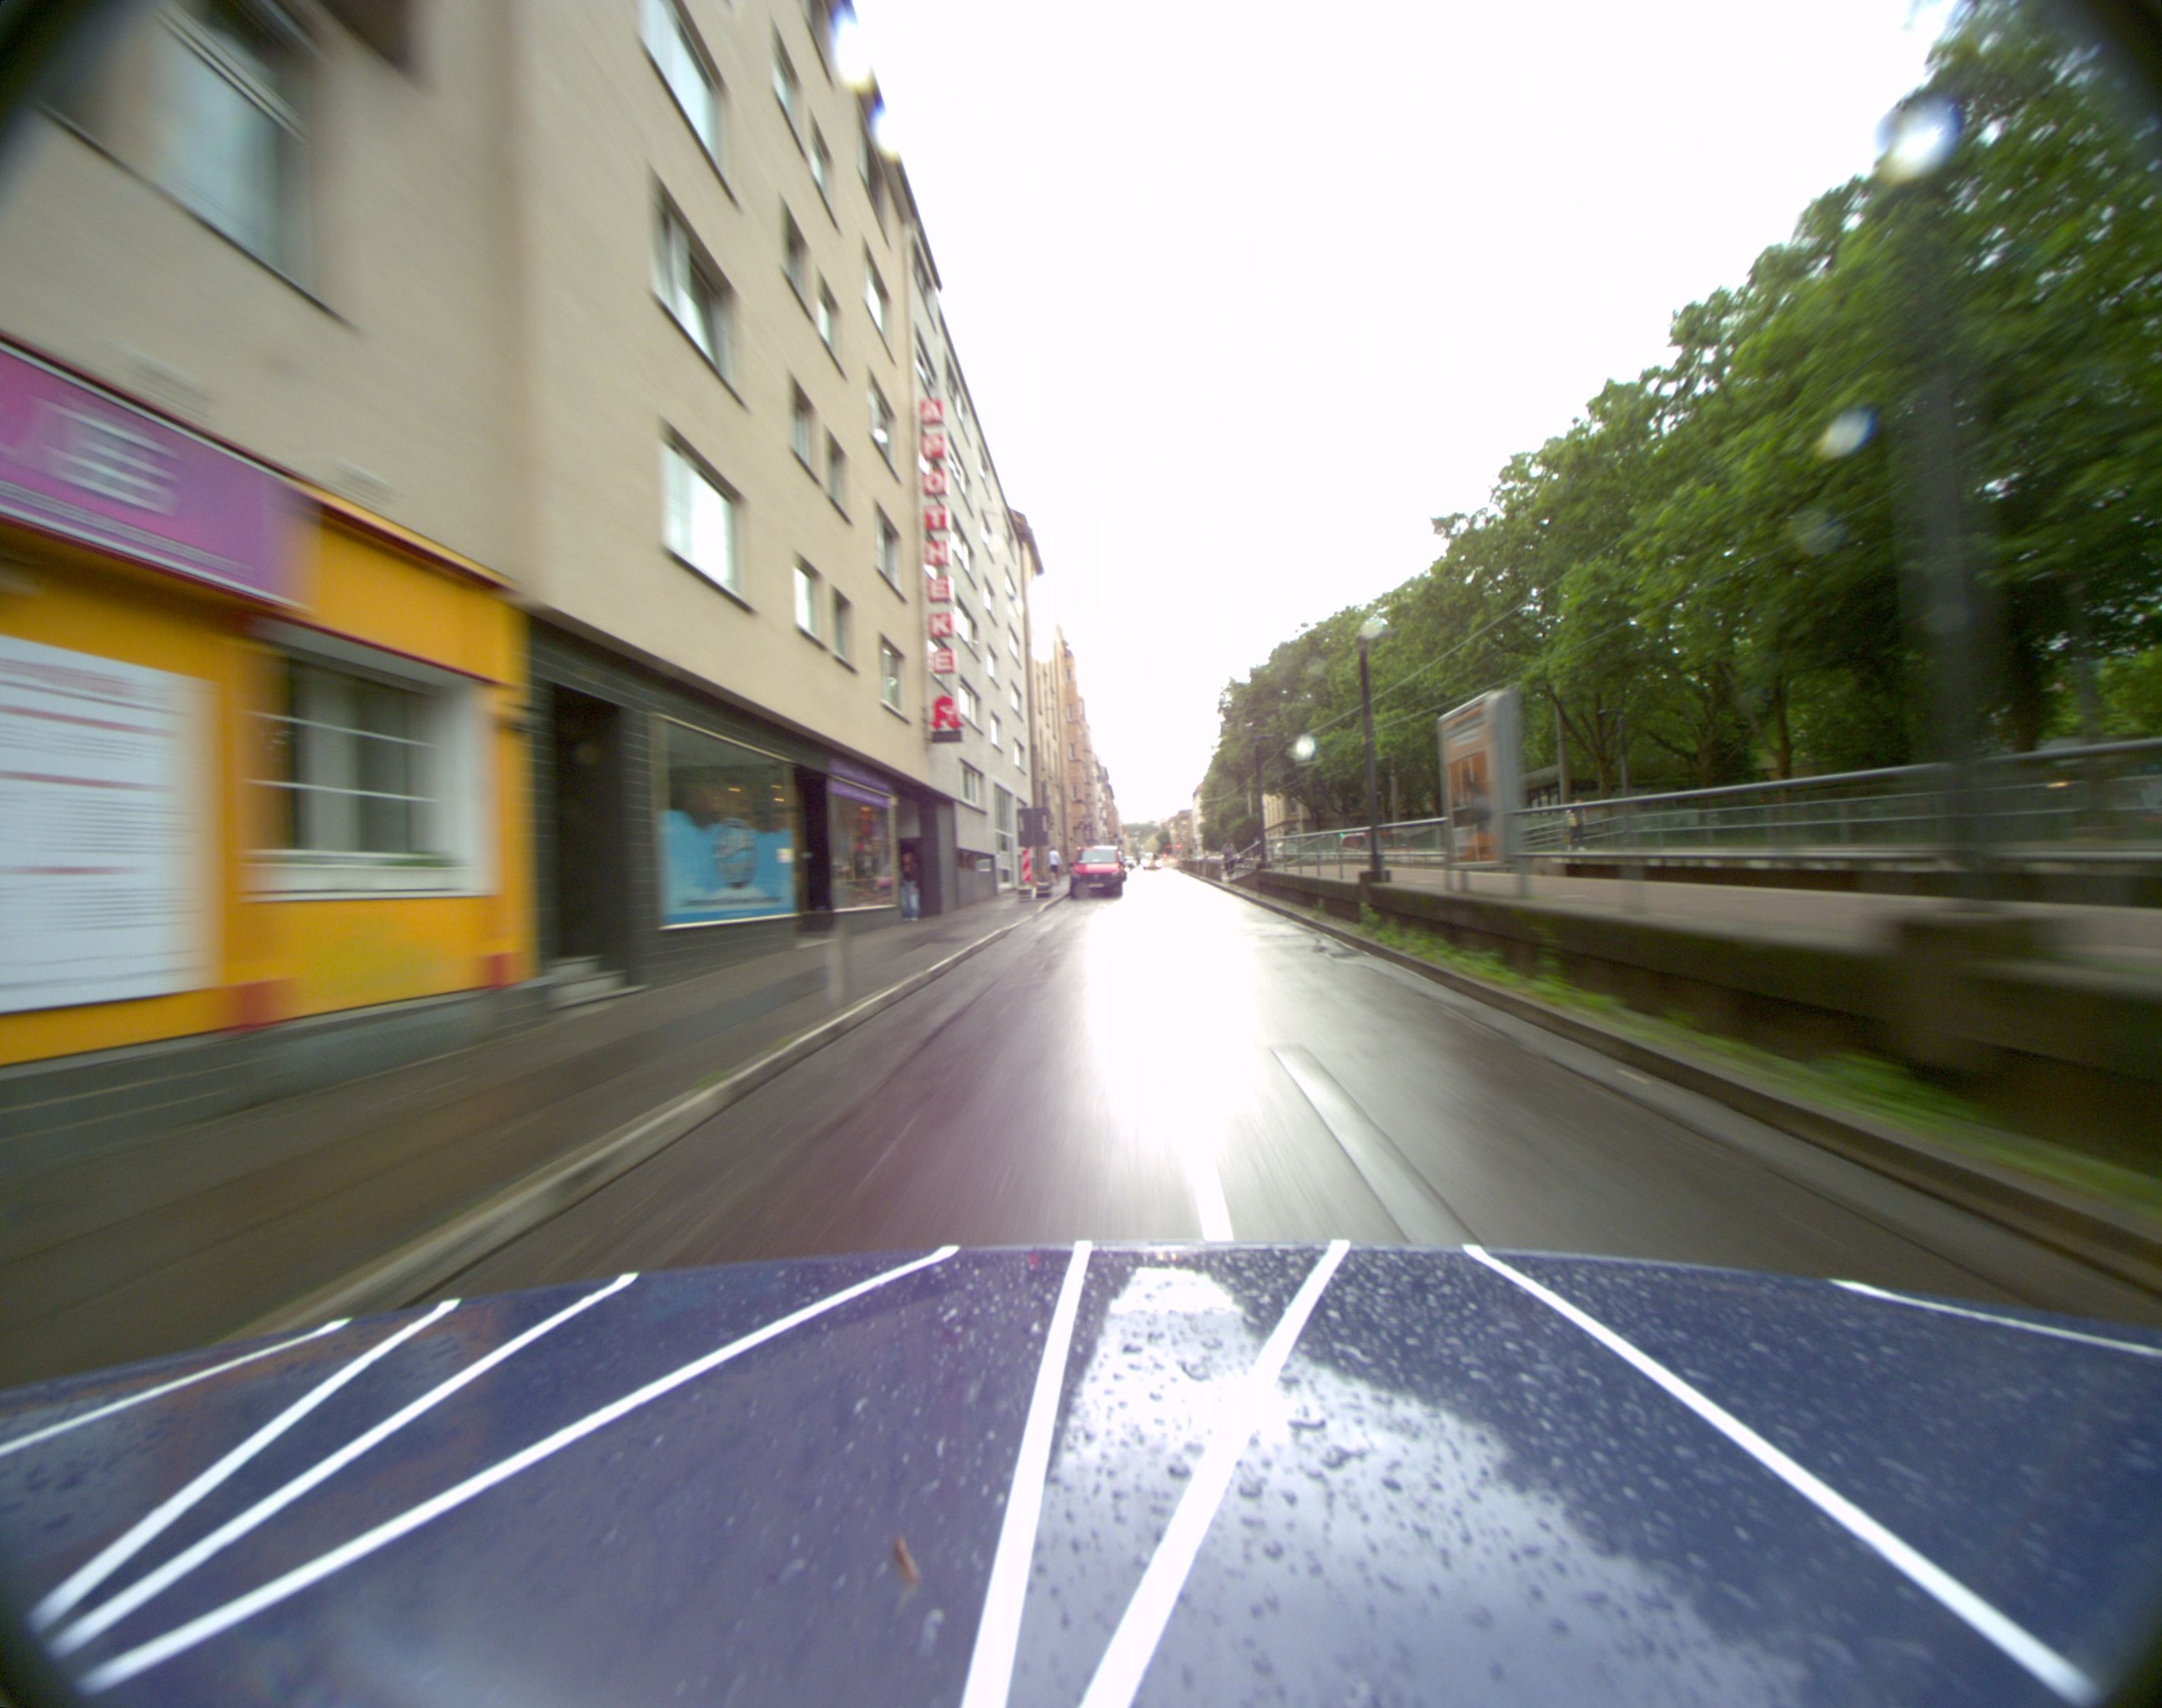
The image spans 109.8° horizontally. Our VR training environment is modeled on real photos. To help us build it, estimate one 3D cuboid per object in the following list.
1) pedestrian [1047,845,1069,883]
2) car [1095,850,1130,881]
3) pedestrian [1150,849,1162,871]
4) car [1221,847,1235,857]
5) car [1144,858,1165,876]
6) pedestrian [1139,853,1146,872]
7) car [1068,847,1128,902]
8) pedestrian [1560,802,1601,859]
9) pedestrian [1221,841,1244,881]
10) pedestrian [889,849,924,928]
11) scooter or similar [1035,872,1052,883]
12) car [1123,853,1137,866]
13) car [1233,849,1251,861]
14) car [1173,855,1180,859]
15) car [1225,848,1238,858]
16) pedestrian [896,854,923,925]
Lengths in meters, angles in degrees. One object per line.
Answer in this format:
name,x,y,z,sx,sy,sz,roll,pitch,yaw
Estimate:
pedestrian,-1.106,0.483,36.581,0.853,1.747,0.837,-4,0,5
car,1.920,0.636,45.319,1.769,1.698,4.501,-3,0,5
pedestrian,5.953,0.491,60.550,0.651,1.694,0.662,-3,0,27
car,23.393,-0.275,121.061,1.483,1.440,3.501,-3,-1,2
car,6.677,1.199,69.275,1.620,1.592,4.068,-2,-1,3
pedestrian,5.214,0.717,64.880,0.481,1.629,0.433,-3,0,1
car,0.707,0.679,28.763,1.979,1.827,5.246,-3,1,3
pedestrian,15.273,-0.708,23.252,0.659,1.652,0.688,-4,-3,4
pedestrian,7.091,0.335,35.482,0.861,1.788,0.787,-3,0,4
pedestrian,-3.863,0.756,16.862,0.462,1.710,0.517,-3,2,13
scooter or similar,-1.930,1.213,39.274,0.858,0.503,0.258,-2,1,35
car,6.394,0.680,98.725,1.745,1.576,4.001,-2,-1,4
car,21.696,0.095,102.520,1.891,1.468,3.808,-4,0,5
car,27.775,0.847,220.488,1.571,1.159,2.910,-3,-1,1
car,23.159,-0.191,116.878,1.483,1.392,3.283,-3,-1,2
pedestrian,-4.036,0.831,17.900,0.482,1.635,0.331,-4,1,-10
